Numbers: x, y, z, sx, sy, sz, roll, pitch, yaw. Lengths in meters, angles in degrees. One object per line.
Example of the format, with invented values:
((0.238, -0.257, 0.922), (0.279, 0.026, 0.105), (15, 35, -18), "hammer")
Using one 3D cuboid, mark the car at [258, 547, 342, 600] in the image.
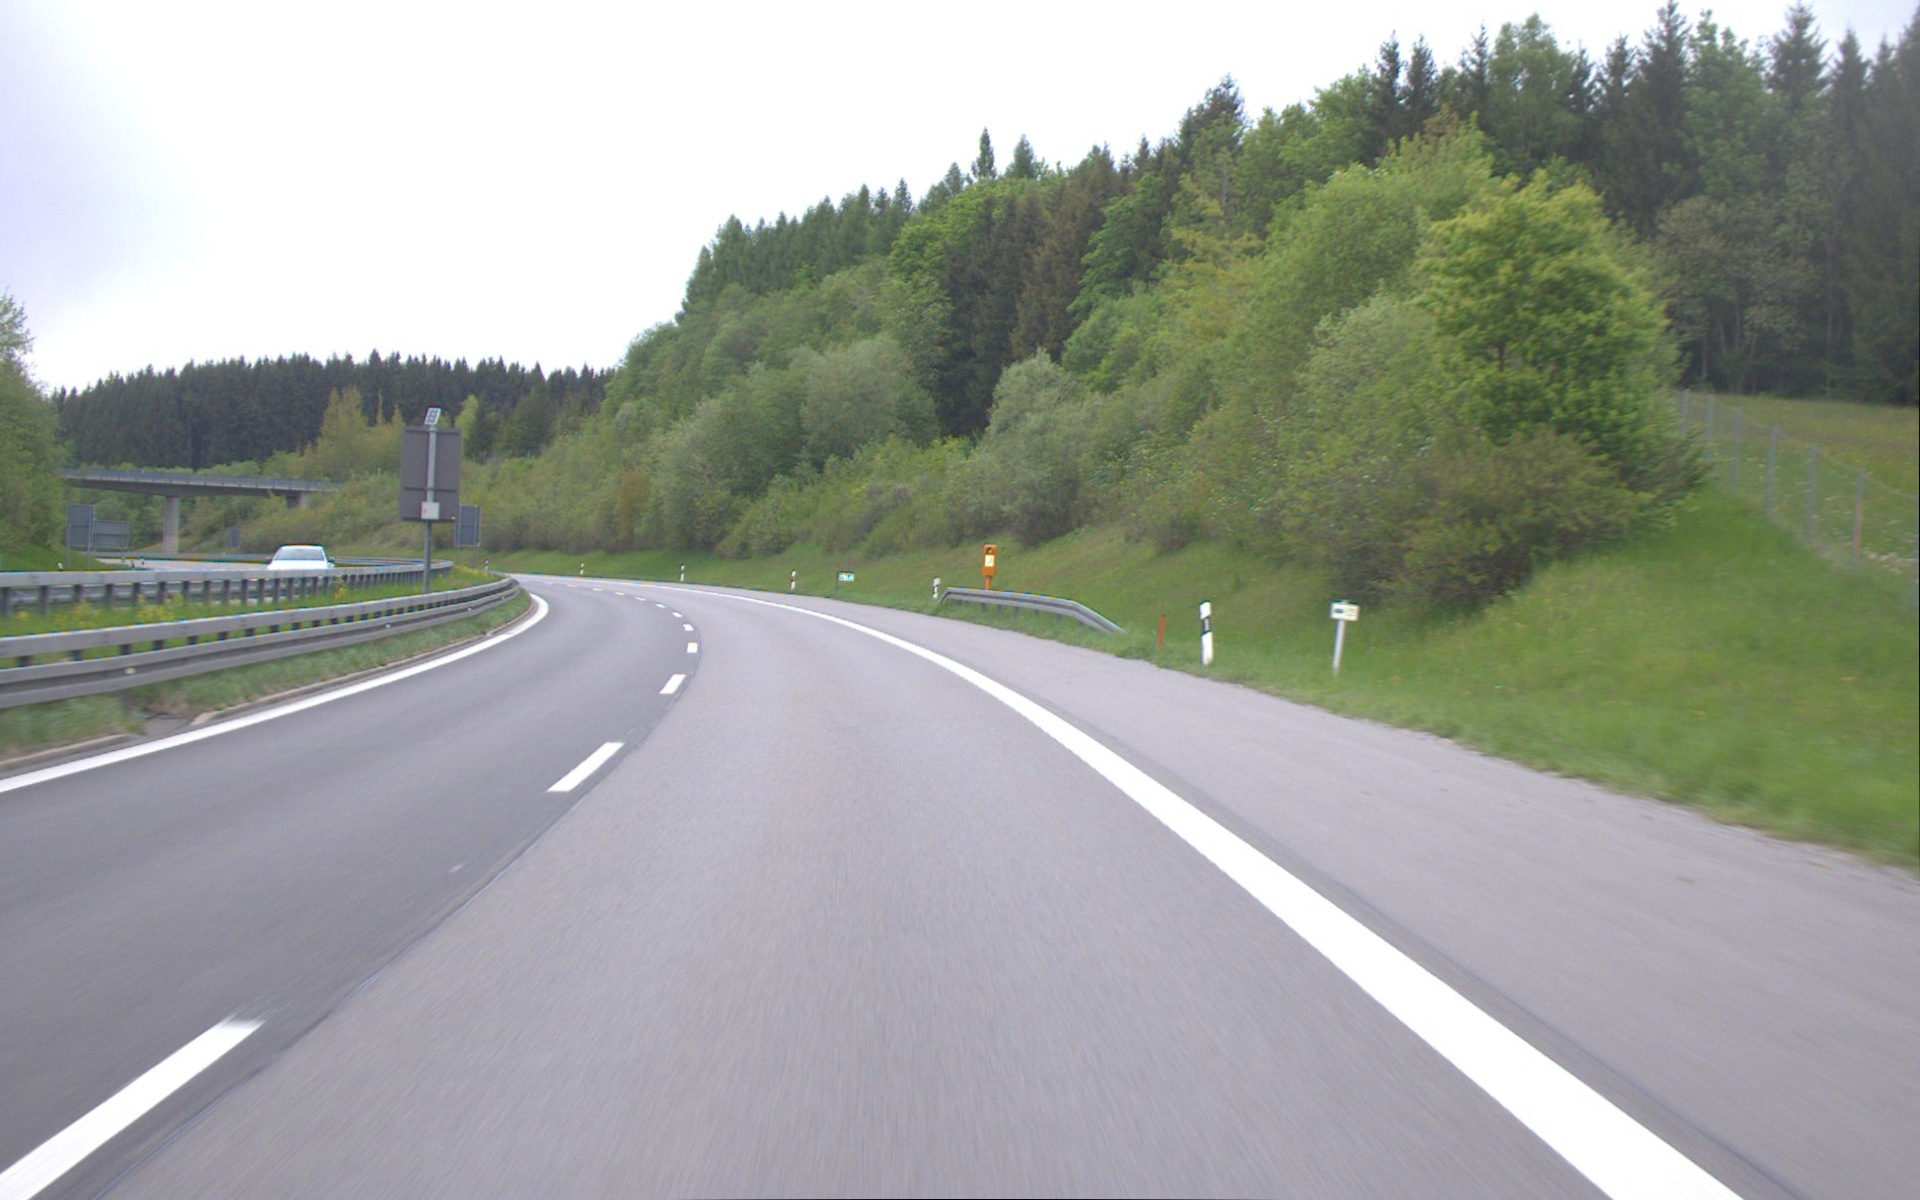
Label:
((-19.535, -0.804, 101.893), (1.993, 1.424, 4.464), (3, 1, -6), "car")
